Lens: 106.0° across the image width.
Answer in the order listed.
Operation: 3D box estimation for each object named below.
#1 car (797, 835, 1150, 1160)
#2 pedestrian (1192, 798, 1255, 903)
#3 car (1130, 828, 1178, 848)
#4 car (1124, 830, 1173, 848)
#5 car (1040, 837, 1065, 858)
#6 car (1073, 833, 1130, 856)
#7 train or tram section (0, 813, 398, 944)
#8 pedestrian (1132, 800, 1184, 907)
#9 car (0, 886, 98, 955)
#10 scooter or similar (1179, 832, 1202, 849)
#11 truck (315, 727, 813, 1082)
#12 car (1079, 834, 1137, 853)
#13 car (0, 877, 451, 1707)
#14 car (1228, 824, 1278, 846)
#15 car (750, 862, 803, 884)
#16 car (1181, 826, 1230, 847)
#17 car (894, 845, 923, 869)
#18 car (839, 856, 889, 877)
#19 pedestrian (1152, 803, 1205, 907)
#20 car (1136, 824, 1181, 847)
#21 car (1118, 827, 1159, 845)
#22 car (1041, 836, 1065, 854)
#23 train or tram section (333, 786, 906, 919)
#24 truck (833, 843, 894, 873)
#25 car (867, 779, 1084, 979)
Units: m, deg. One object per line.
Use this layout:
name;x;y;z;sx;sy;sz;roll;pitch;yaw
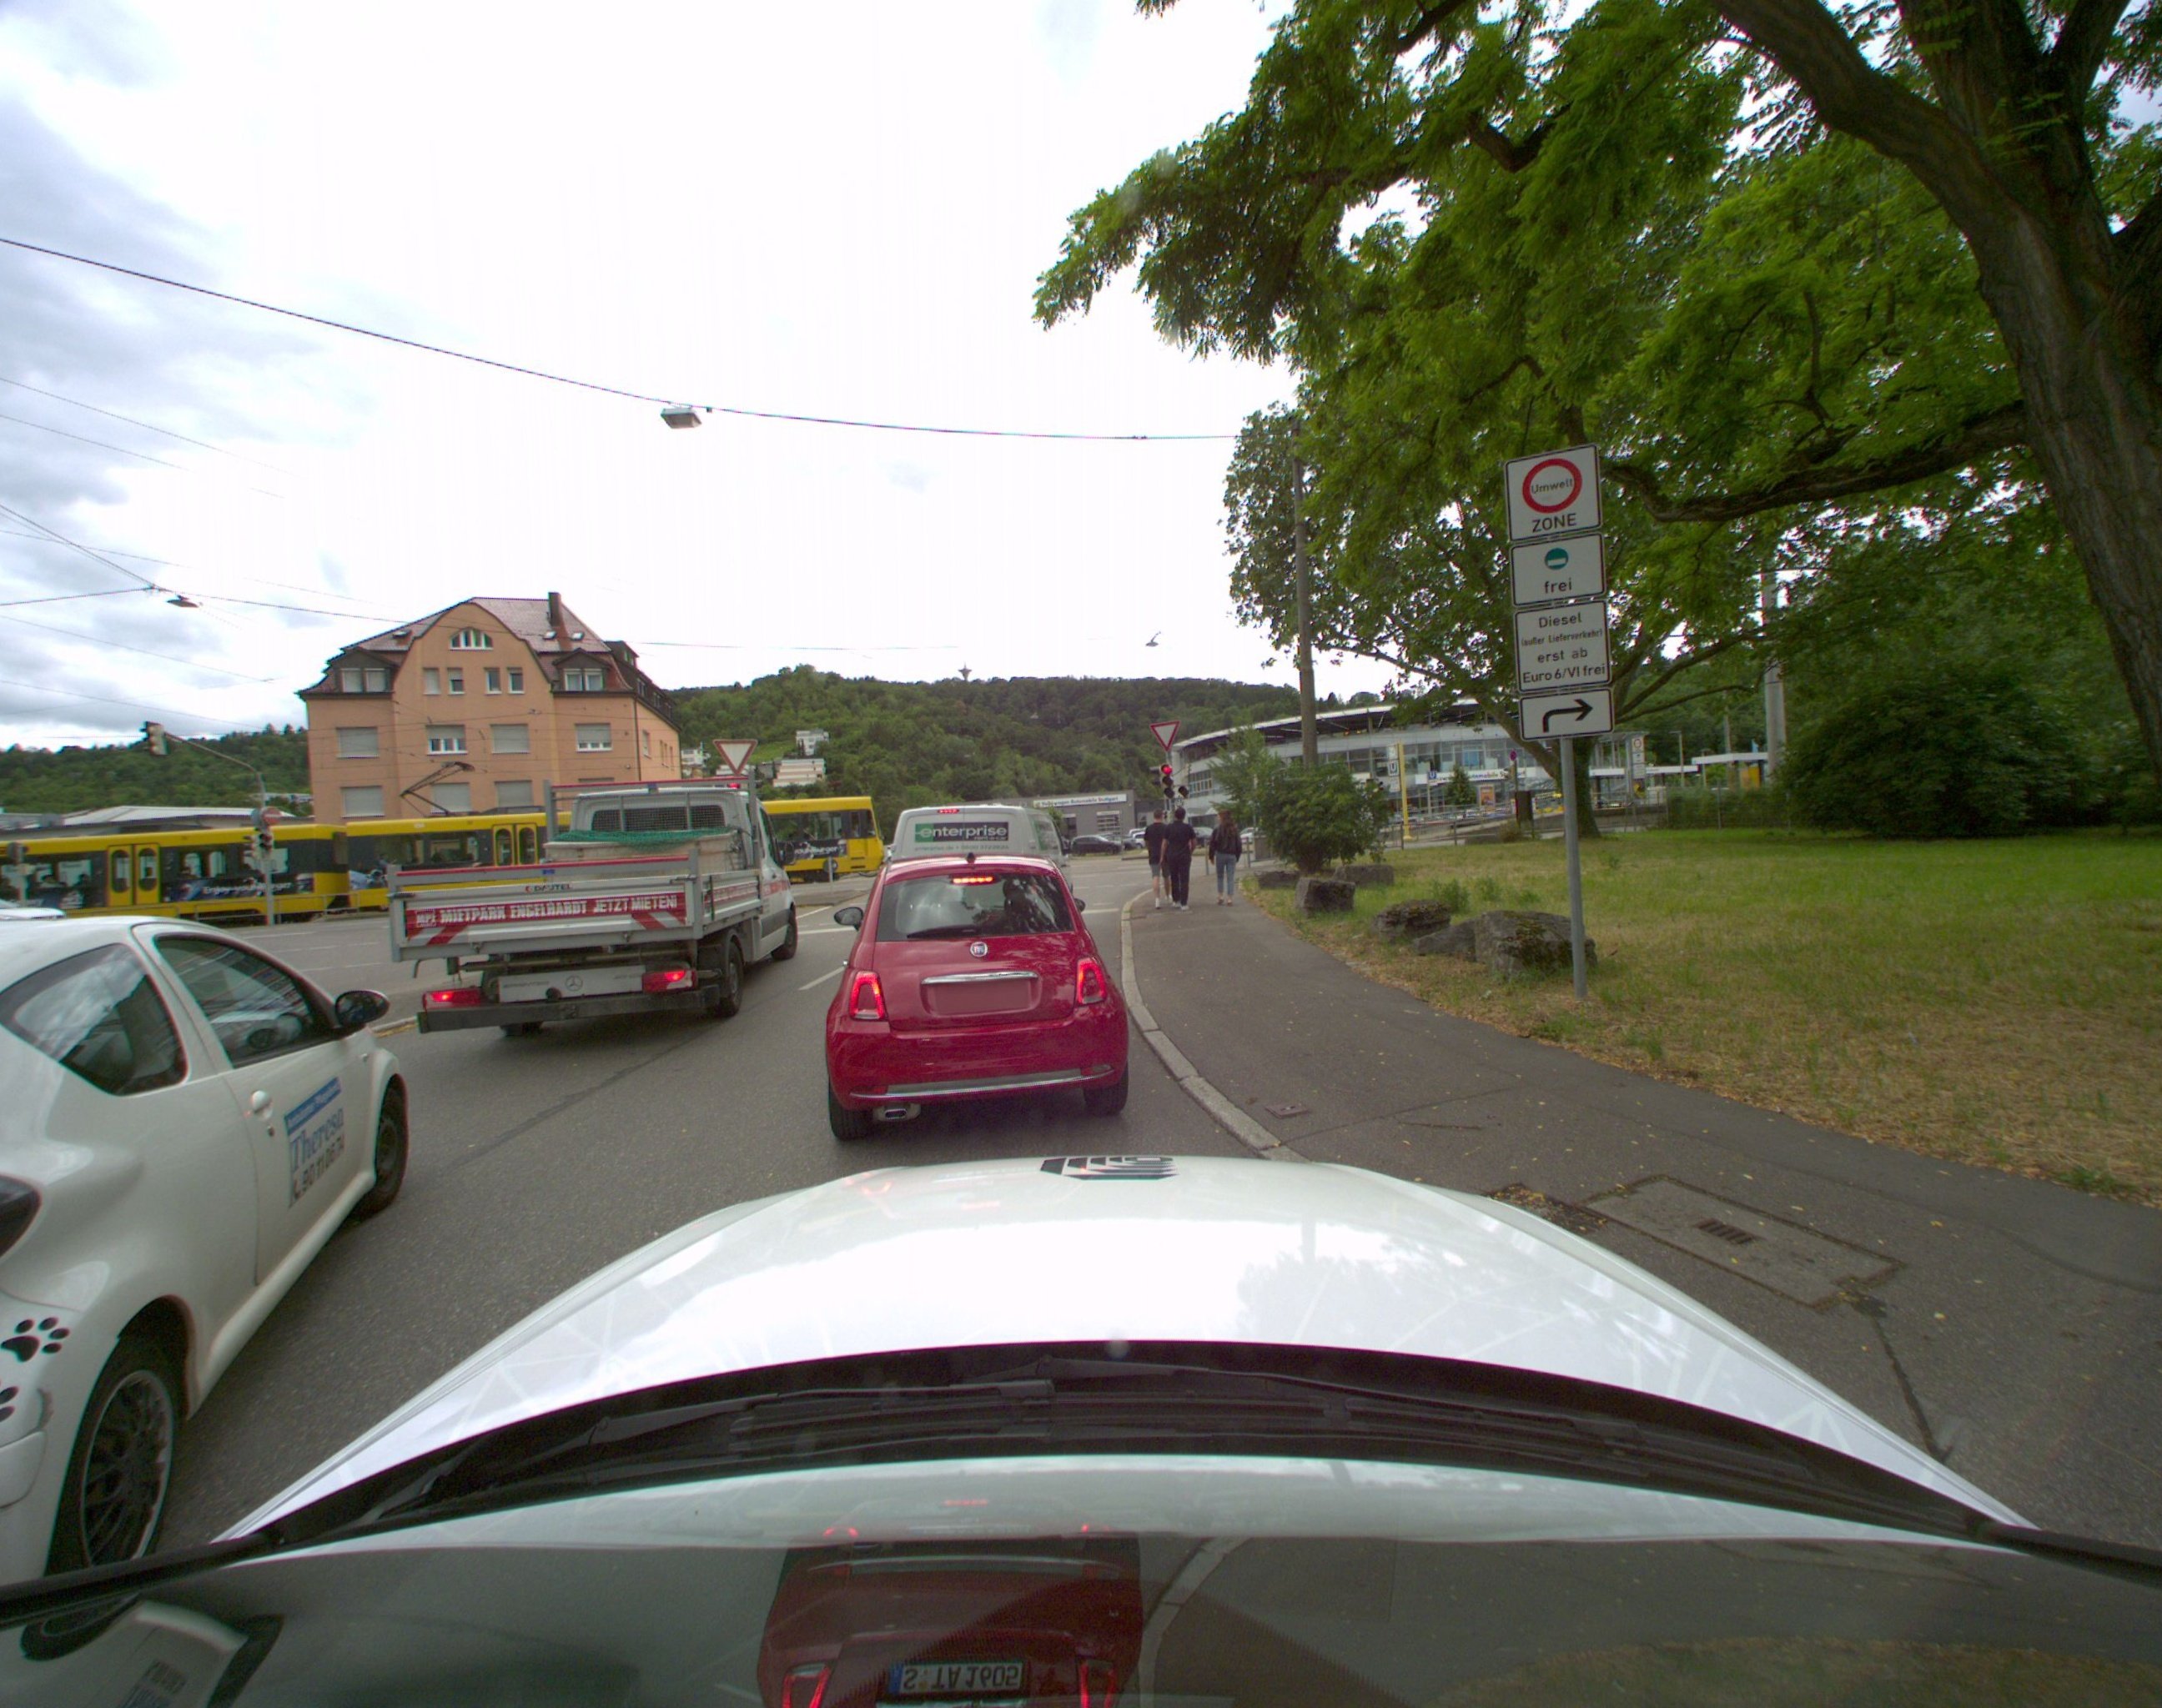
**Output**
car;-0.755;0.664;5.673;1.638;1.456;3.420;-3;1;-9
pedestrian;2.482;-0.060;14.202;0.695;1.739;0.784;-4;1;-17
car;7.584;-1.655;84.648;4.774;1.802;1.778;-4;1;4
car;6.709;-1.496;81.121;4.774;1.533;1.778;-4;1;4
car;-2.722;-0.624;79.101;1.985;1.815;4.004;-4;1;3
car;1.527;-0.718;61.532;3.837;1.500;1.784;-3;1;18
train or tram section;-35.493;1.066;28.001;19.113;3.665;3.267;-4;1;-10
pedestrian;1.411;-0.020;14.786;0.688;1.857;0.792;-4;1;16
car;-28.444;1.808;20.705;4.112;1.584;1.797;-4;1;-10
scooter or similar;8.365;-1.043;62.290;1.658;1.177;0.469;-4;1;9
truck;-4.680;0.308;8.925;2.423;2.397;6.006;-4;1;-11
car;2.323;-0.935;70.586;4.636;1.327;1.783;-4;1;15
car;-3.312;0.863;2.469;1.649;1.432;3.398;-5;1;-30
car;14.064;-1.544;66.711;1.781;1.500;3.984;-4;1;-29
car;-26.744;1.629;71.567;4.218;1.533;1.763;-4;1;-20
car;9.896;-1.386;65.131;1.782;1.500;3.843;-4;1;-31
car;-14.546;0.219;68.937;1.858;1.817;4.392;-4;1;-7
car;-19.590;1.090;73.632;4.209;1.533;1.767;-4;1;-14
pedestrian;1.701;0.014;14.093;0.688;1.714;0.792;-4;1;15
car;8.451;-2.039;89.155;4.774;2.156;2.237;-4;1;4
car;6.820;-2.102;96.282;4.774;1.802;1.778;-4;1;4
car;-2.692;-0.882;79.047;1.761;1.533;4.096;-4;1;5
train or tram section;-16.830;-0.262;32.156;19.146;3.665;3.261;-4;1;-15
truck;-20.460;0.387;76.653;5.211;2.393;1.983;-4;1;-26
car;-1.183;0.232;11.507;1.981;2.106;4.767;-4;1;4
